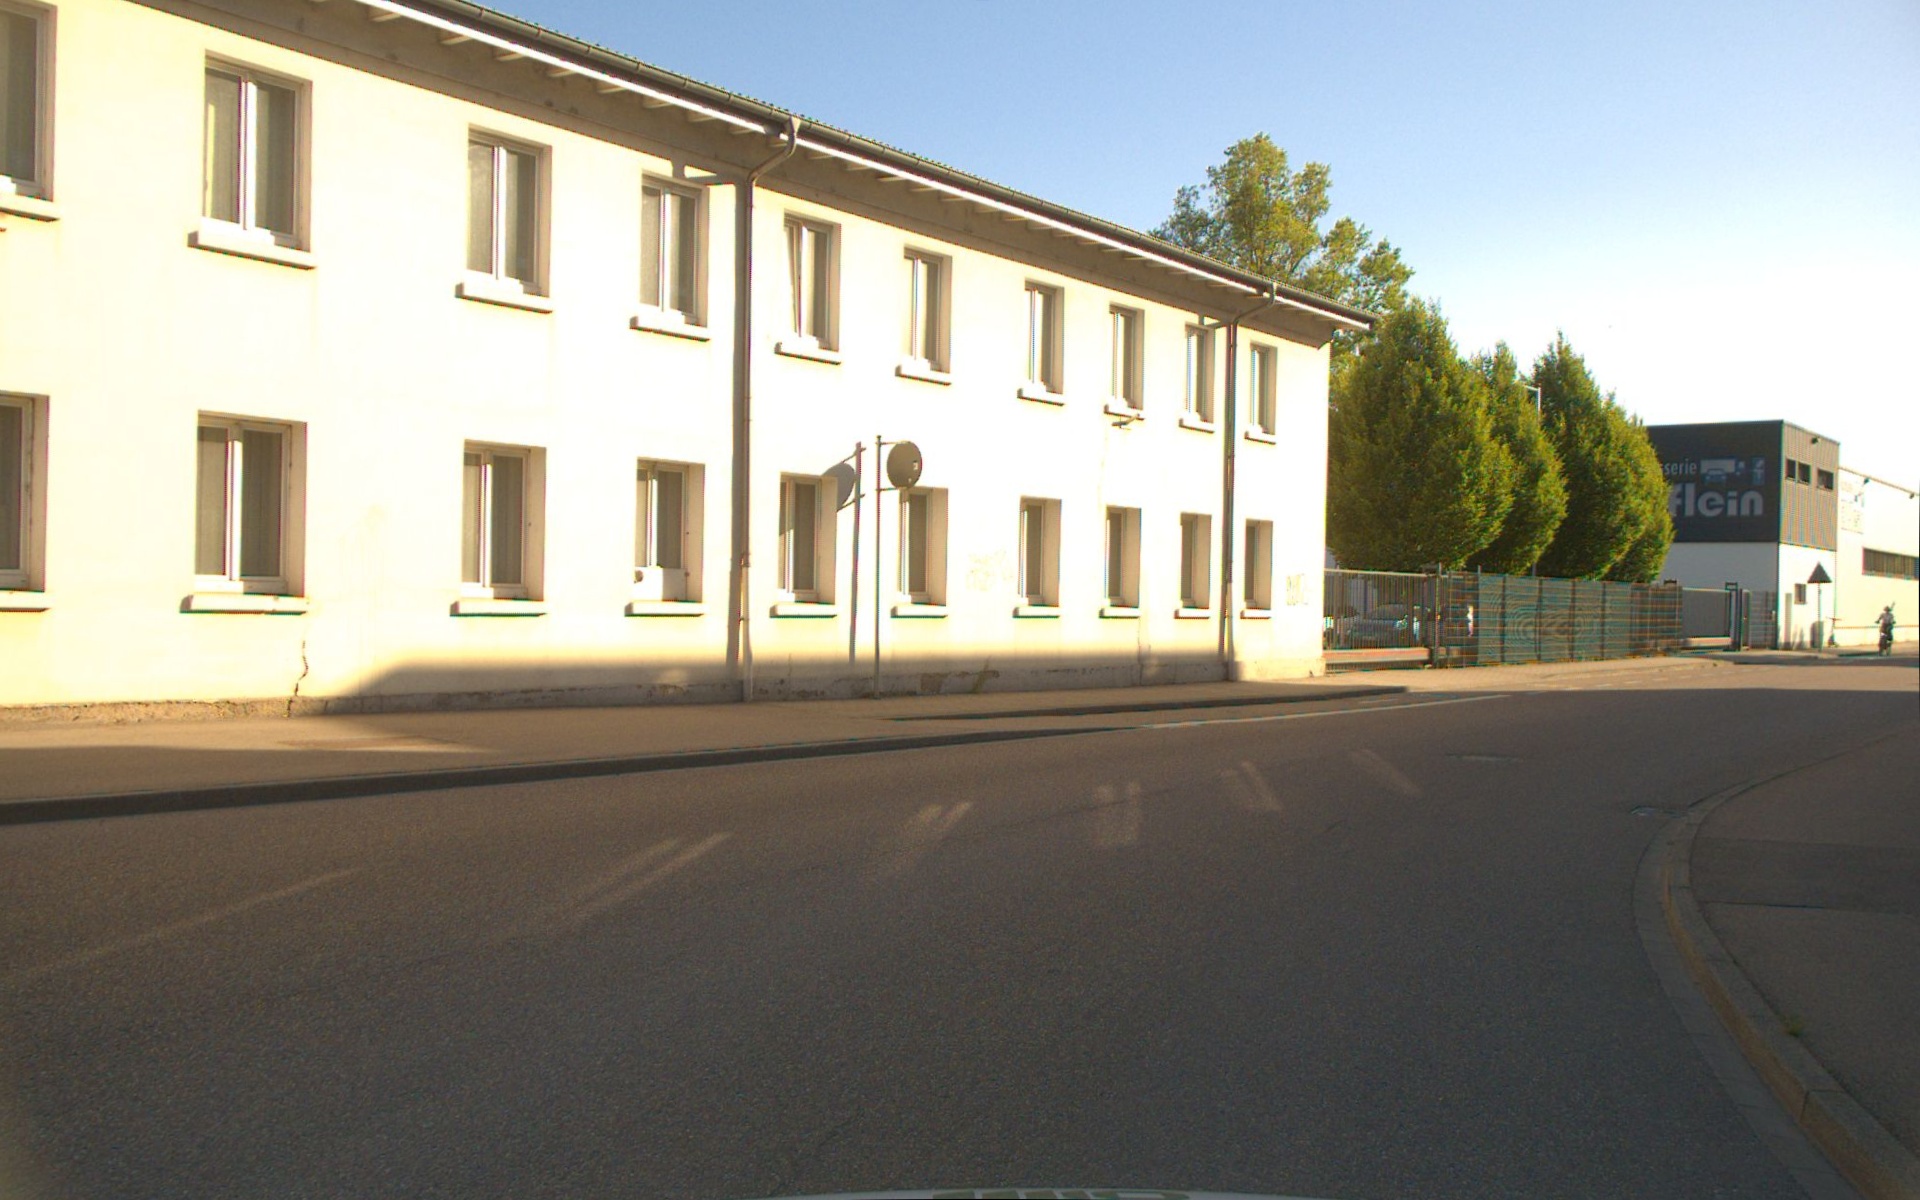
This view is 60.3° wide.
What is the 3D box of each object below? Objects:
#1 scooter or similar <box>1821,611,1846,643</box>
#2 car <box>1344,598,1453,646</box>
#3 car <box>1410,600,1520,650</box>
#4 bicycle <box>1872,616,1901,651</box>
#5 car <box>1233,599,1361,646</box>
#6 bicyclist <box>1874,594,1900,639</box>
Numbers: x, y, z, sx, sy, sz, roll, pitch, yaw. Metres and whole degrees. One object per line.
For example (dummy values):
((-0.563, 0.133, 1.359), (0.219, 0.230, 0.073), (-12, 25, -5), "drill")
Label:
((35.309, 1.098, 66.871), (0.499, 1.223, 1.745), (5, 2, 38), "scooter or similar")
((14.307, 0.710, 53.833), (1.962, 1.477, 3.980), (1, 0, 39), "car")
((15.979, 0.771, 52.247), (1.962, 1.477, 3.980), (1, 0, 39), "car")
((34.910, 1.250, 62.329), (0.656, 1.311, 2.163), (1, 0, 37), "bicycle")
((11.495, 0.744, 56.528), (3.925, 1.567, 1.866), (0, -1, 40), "car")
((34.929, 0.628, 62.324), (0.734, 1.656, 0.830), (1, 0, 37), "bicyclist")
